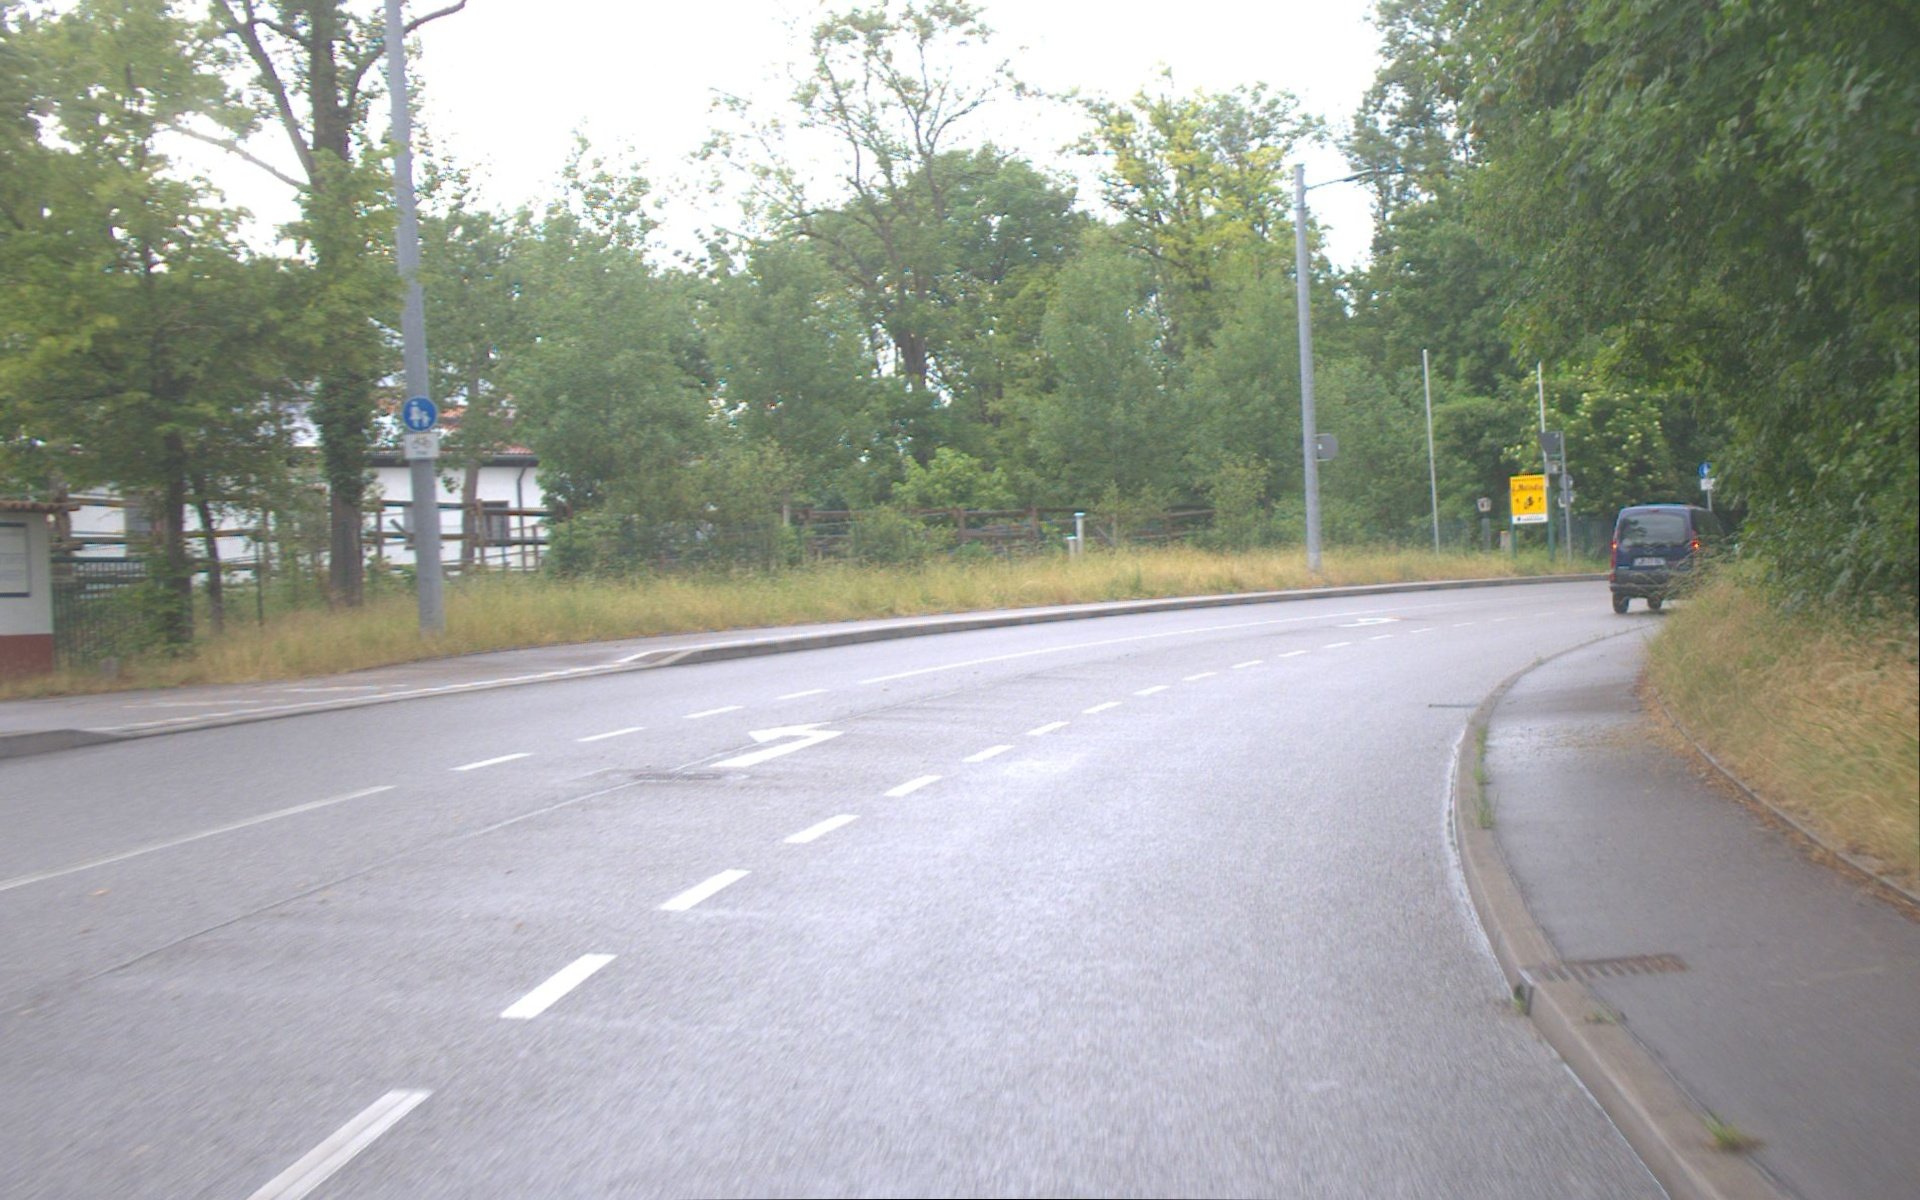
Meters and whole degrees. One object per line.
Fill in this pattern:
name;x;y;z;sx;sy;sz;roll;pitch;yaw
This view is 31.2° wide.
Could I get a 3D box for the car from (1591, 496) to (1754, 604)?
car;12.270;-0.845;59.023;1.829;1.788;3.994;1;1;26
